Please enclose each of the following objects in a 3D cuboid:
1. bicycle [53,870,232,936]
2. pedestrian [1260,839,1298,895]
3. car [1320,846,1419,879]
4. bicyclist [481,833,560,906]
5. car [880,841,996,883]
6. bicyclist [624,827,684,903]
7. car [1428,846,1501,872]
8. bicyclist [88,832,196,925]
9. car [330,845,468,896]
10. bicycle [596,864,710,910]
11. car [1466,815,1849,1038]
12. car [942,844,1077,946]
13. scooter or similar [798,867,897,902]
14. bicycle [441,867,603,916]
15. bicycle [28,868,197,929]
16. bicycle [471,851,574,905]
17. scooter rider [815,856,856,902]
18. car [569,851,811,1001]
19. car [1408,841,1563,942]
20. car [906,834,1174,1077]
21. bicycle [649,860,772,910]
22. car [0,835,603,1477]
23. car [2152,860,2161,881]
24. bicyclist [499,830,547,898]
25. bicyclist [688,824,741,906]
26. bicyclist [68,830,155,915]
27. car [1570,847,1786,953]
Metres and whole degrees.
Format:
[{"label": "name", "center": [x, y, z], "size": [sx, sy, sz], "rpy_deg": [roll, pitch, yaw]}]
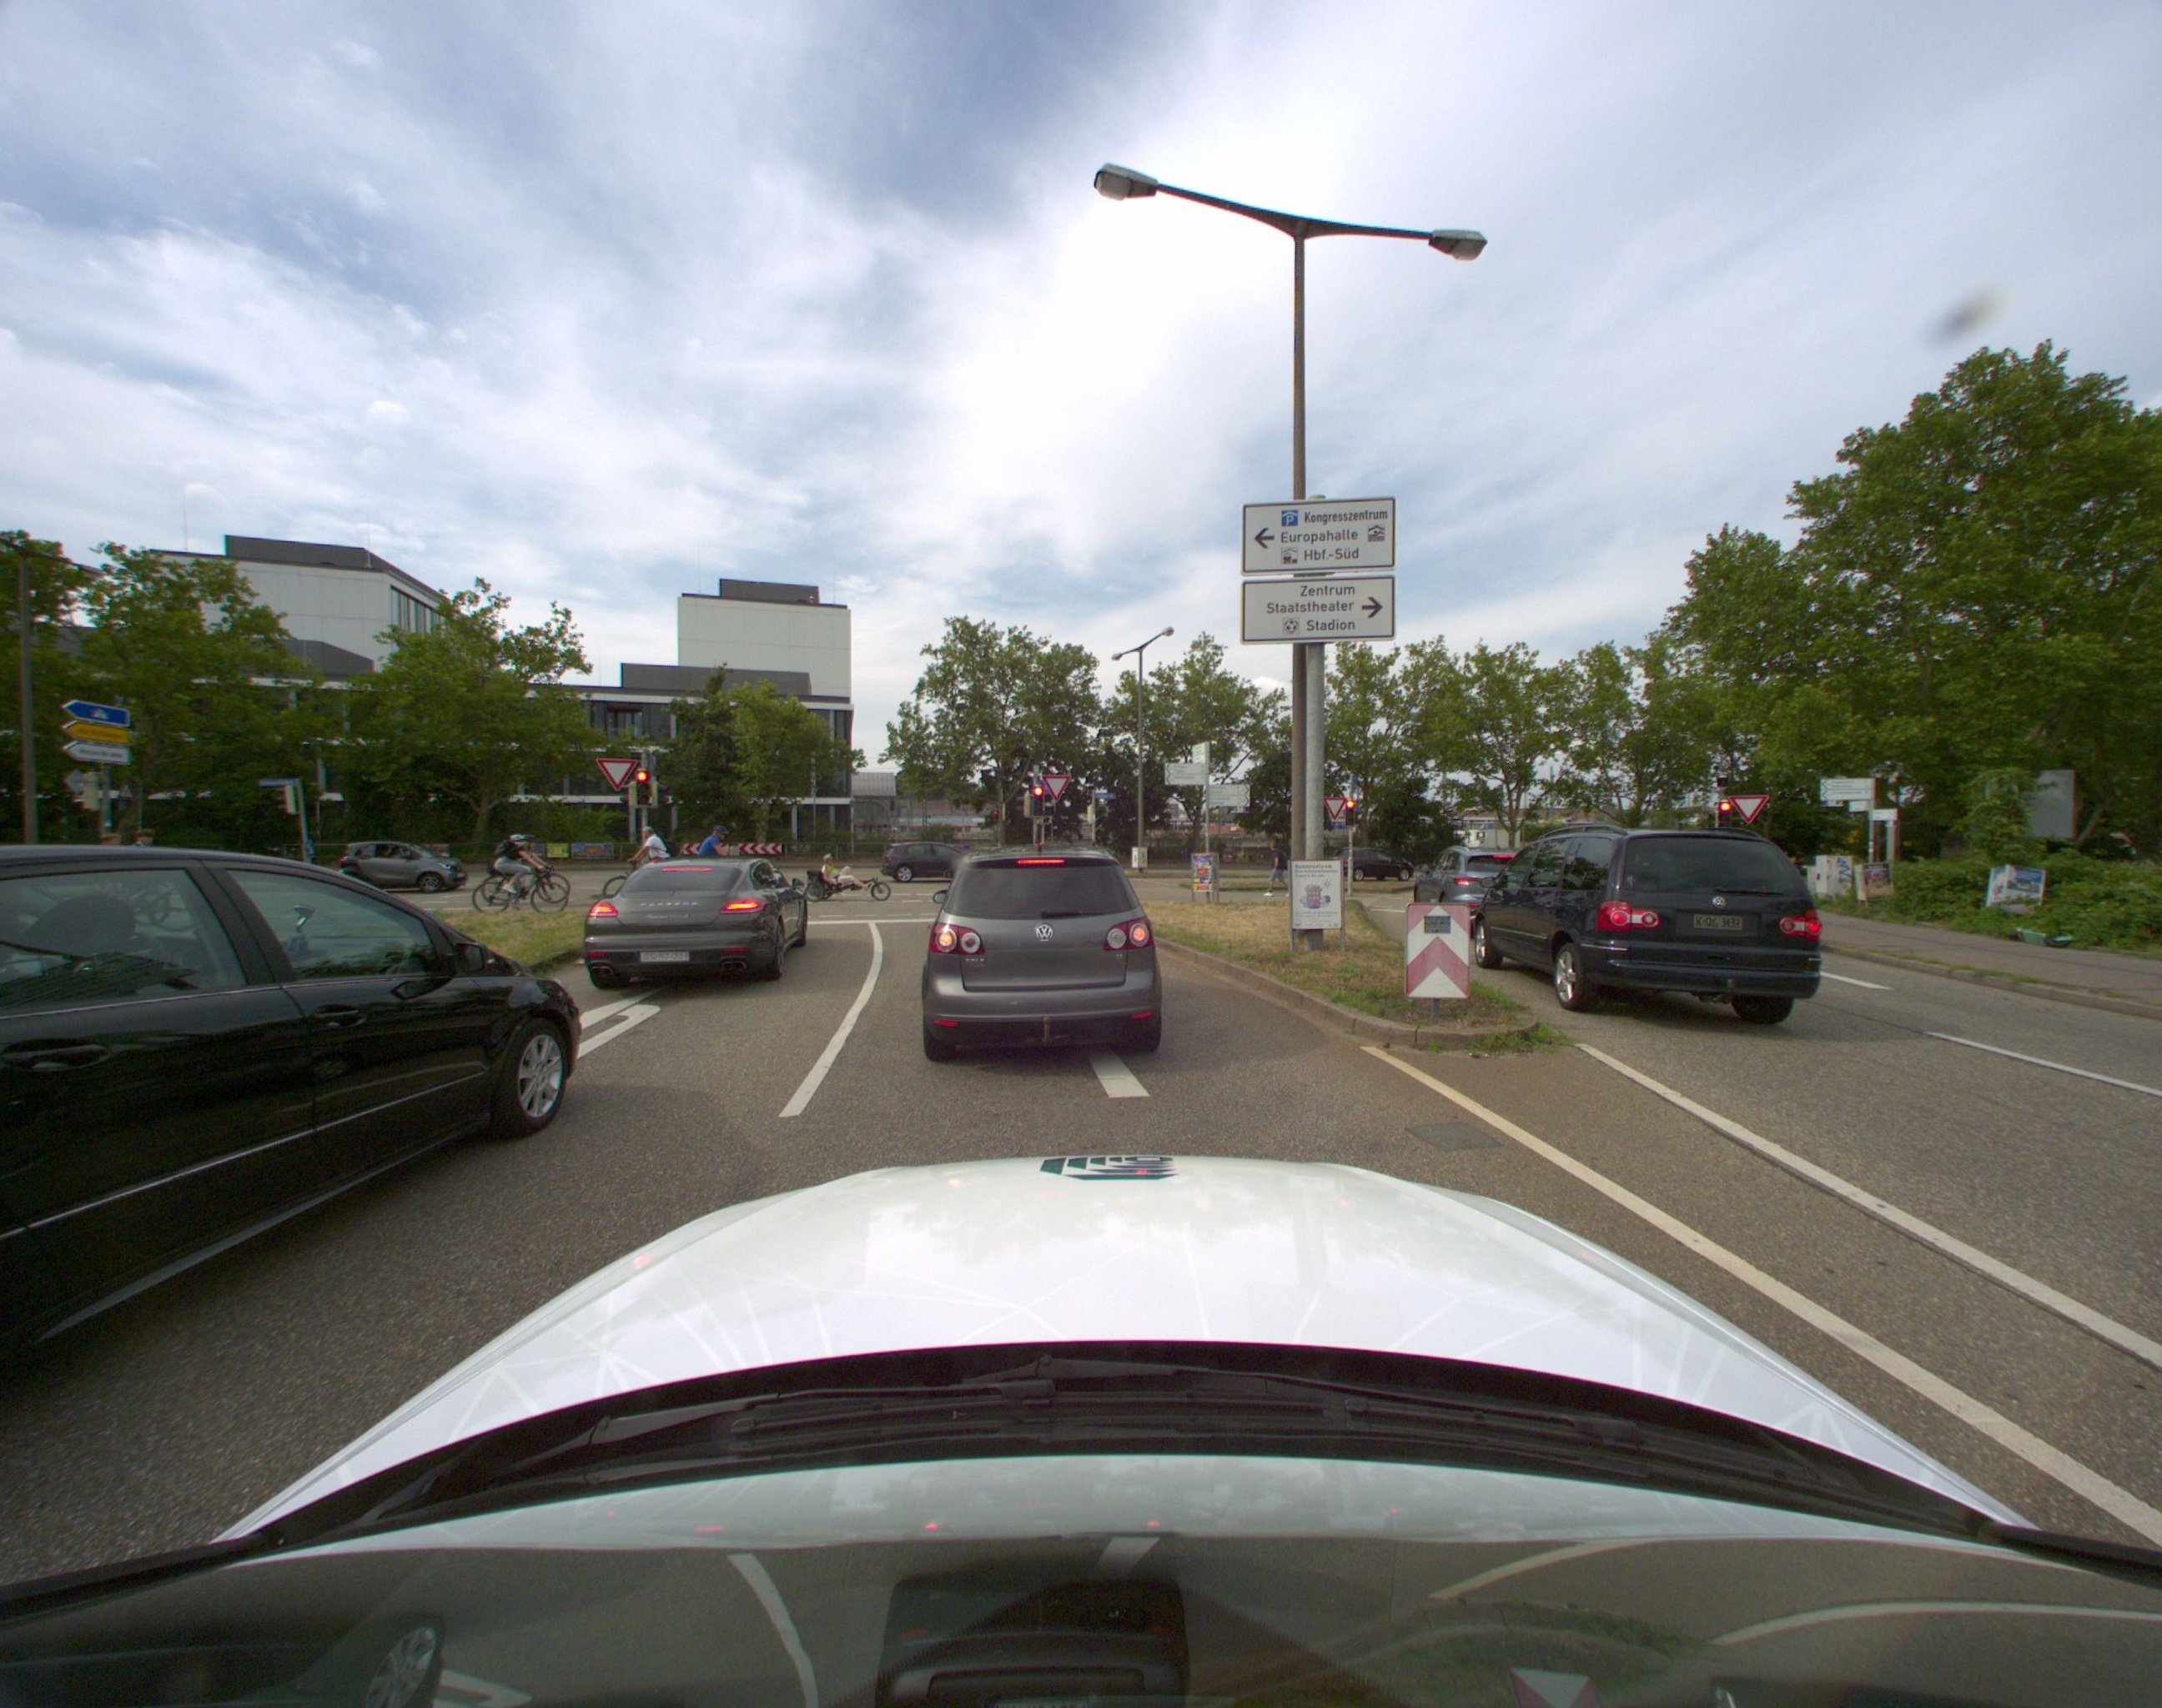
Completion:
[{"label": "bicycle", "center": [-16.137, 0.822, 14.068], "size": [1.910, 1.013, 0.623], "rpy_deg": [-1, 1, -25]}, {"label": "pedestrian", "center": [6.202, 0.401, 25.465], "size": [1.038, 1.710, 0.858], "rpy_deg": [1, 1, 19]}, {"label": "car", "center": [12.819, 0.339, 36.194], "size": [4.072, 1.368, 1.691], "rpy_deg": [-1, 0, -22]}, {"label": "bicyclist", "center": [-11.281, 0.291, 16.425], "size": [1.115, 1.436, 0.644], "rpy_deg": [-1, 1, -15]}, {"label": "car", "center": [-5.287, 0.276, 30.030], "size": [4.067, 1.450, 1.693], "rpy_deg": [-1, 0, -17]}, {"label": "bicyclist", "center": [-9.813, 0.227, 18.756], "size": [1.116, 1.696, 0.807], "rpy_deg": [-1, 0, -22]}, {"label": "car", "center": [23.127, 0.275, 49.128], "size": [3.963, 1.448, 1.692], "rpy_deg": [-1, 0, -19]}, {"label": "bicyclist", "center": [-16.156, 0.393, 14.043], "size": [1.021, 1.539, 0.623], "rpy_deg": [-1, 1, -25]}, {"label": "car", "center": [-19.970, 0.460, 23.960], "size": [2.719, 1.422, 1.490], "rpy_deg": [-1, 0, -19]}, {"label": "bicycle", "center": [-9.809, 0.739, 18.760], "size": [2.237, 0.952, 0.805], "rpy_deg": [-1, 0, -22]}, {"label": "car", "center": [5.577, 0.566, 8.601], "size": [1.739, 1.724, 4.151], "rpy_deg": [2, 0, 11]}, {"label": "car", "center": [-1.391, 0.594, 14.107], "size": [1.743, 1.482, 4.063], "rpy_deg": [-1, 0, -14]}, {"label": "scooter or similar", "center": [-6.081, 0.792, 21.343], "size": [2.378, 0.849, 0.806], "rpy_deg": [0, 1, -9]}, {"label": "bicycle", "center": [-11.202, 0.729, 16.417], "size": [2.588, 0.890, 0.701], "rpy_deg": [-1, 1, -16]}, {"label": "bicycle", "center": [-17.942, 0.800, 15.156], "size": [1.912, 1.013, 0.623], "rpy_deg": [-1, 1, -28]}, {"label": "bicycle", "center": [-13.305, 0.559, 19.461], "size": [1.906, 1.210, 0.639], "rpy_deg": [-1, 1, -19]}, {"label": "scooter rider", "center": [-6.404, 0.642, 21.308], "size": [0.913, 1.137, 0.806], "rpy_deg": [0, 1, -9]}, {"label": "car", "center": [-4.629, 0.693, 10.430], "size": [1.821, 1.414, 4.754], "rpy_deg": [0, 1, -13]}, {"label": "car", "center": [7.393, 0.602, 15.299], "size": [1.679, 1.585, 4.171], "rpy_deg": [2, 0, 13]}, {"label": "car", "center": [-0.458, 0.642, 7.362], "size": [1.739, 1.546, 4.073], "rpy_deg": [-1, 0, -6]}, {"label": "bicycle", "center": [-7.704, 0.624, 17.035], "size": [2.233, 0.952, 0.807], "rpy_deg": [-1, 0, -17]}, {"label": "car", "center": [-3.649, 0.724, 2.963], "size": [1.755, 1.575, 4.028], "rpy_deg": [0, 1, -6]}, {"label": "car", "center": [92.417, 1.358, 68.296], "size": [3.993, 1.723, 1.802], "rpy_deg": [-1, 0, -15]}, {"label": "bicyclist", "center": [-13.307, 0.226, 19.444], "size": [0.781, 1.581, 0.651], "rpy_deg": [-1, 1, -18]}, {"label": "bicyclist", "center": [-7.667, 0.215, 17.061], "size": [0.883, 1.656, 0.807], "rpy_deg": [-1, 0, -17]}, {"label": "bicyclist", "center": [-17.984, 0.327, 15.132], "size": [0.843, 1.529, 0.623], "rpy_deg": [-1, 1, -28]}, {"label": "car", "center": [10.852, 0.739, 15.205], "size": [1.738, 1.643, 4.152], "rpy_deg": [2, 0, 13]}]
